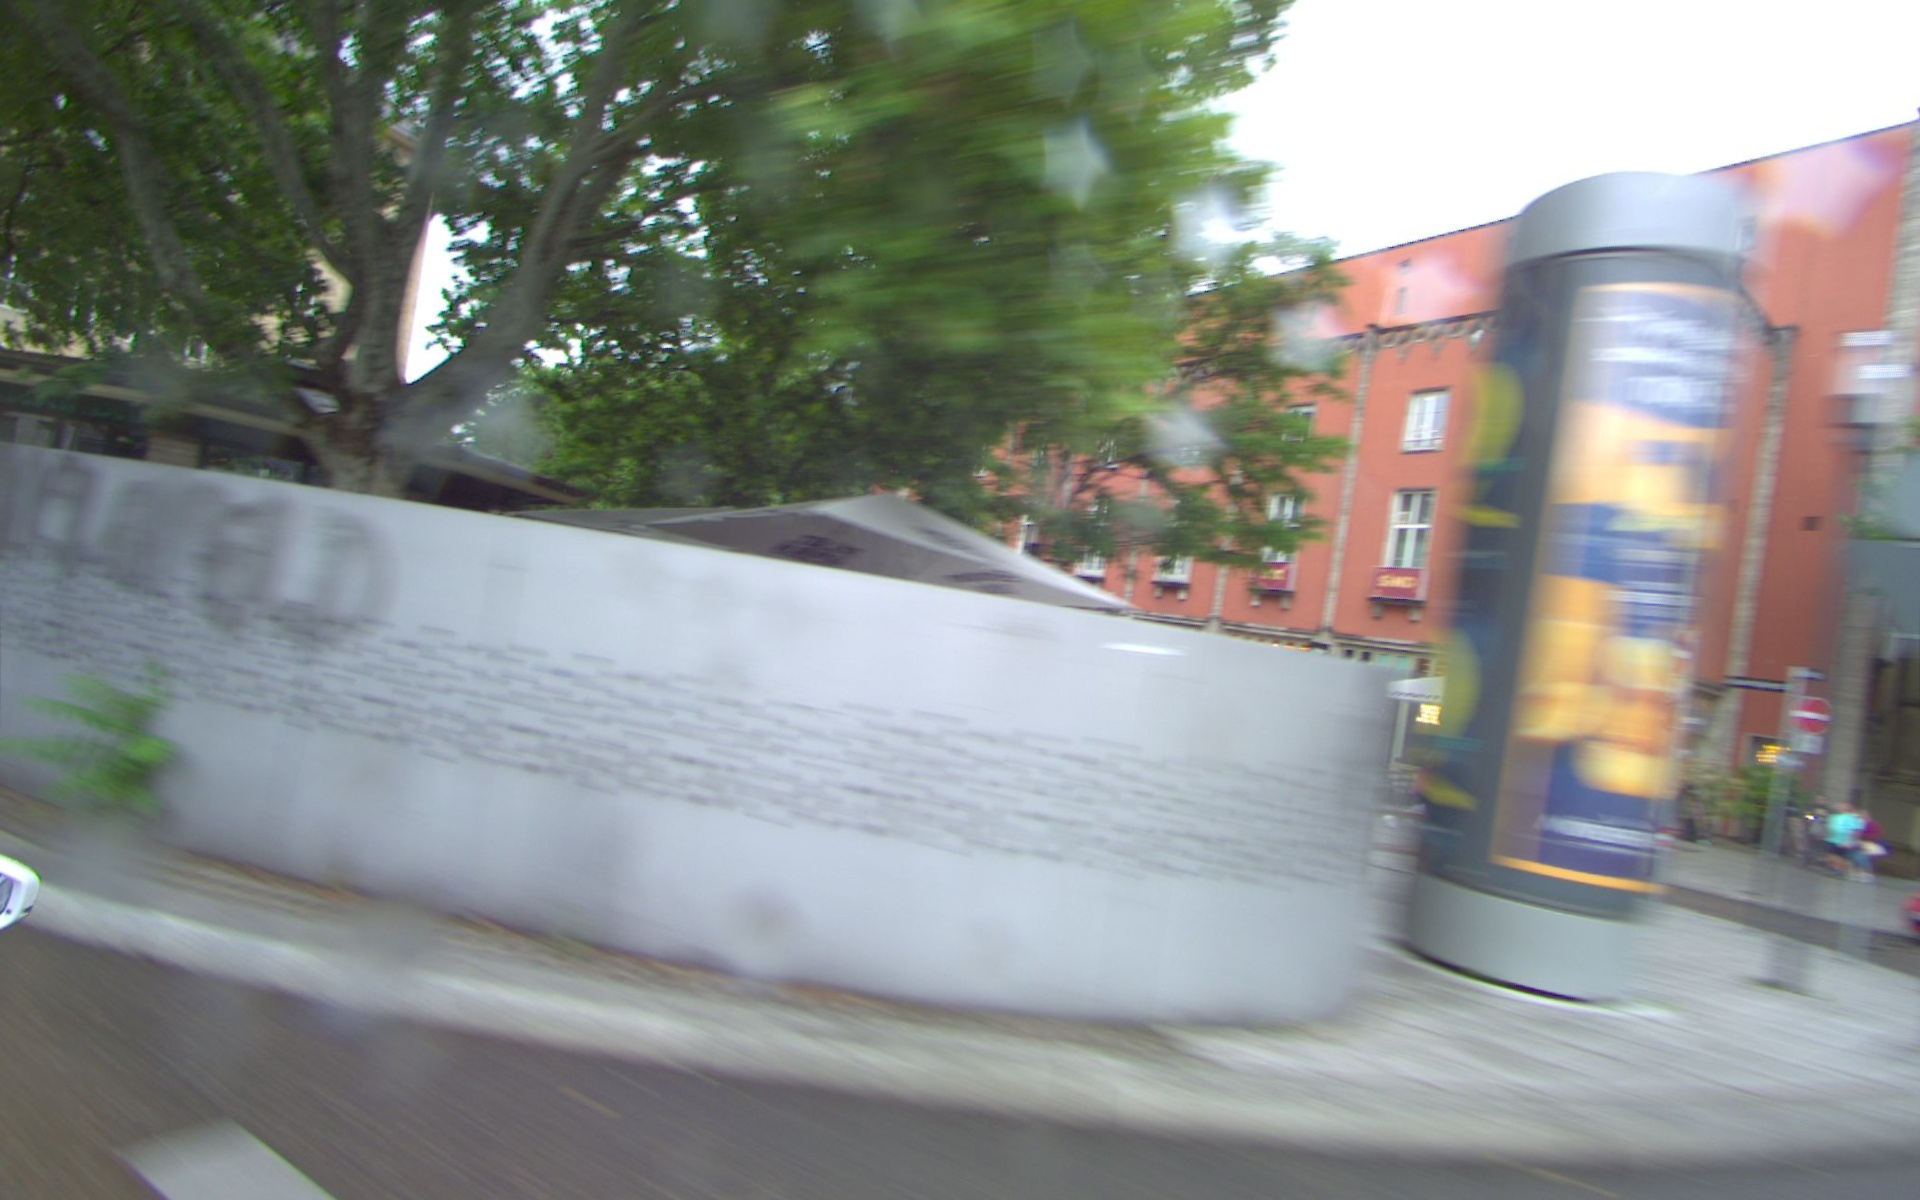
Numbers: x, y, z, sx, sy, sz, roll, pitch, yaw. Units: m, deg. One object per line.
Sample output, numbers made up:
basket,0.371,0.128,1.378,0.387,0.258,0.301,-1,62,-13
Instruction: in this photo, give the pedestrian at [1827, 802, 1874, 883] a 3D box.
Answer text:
pedestrian,19.222,5.226,21.712,0.602,1.576,0.751,6,-4,45

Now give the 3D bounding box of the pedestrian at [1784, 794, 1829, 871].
pedestrian,19.329,5.304,22.974,0.602,1.614,0.751,6,-4,45

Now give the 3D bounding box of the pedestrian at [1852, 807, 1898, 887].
pedestrian,20.303,5.473,22.312,0.602,1.614,0.751,6,-4,45

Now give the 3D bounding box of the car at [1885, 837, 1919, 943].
car,15.528,4.463,14.010,3.462,1.430,1.618,9,-3,10
